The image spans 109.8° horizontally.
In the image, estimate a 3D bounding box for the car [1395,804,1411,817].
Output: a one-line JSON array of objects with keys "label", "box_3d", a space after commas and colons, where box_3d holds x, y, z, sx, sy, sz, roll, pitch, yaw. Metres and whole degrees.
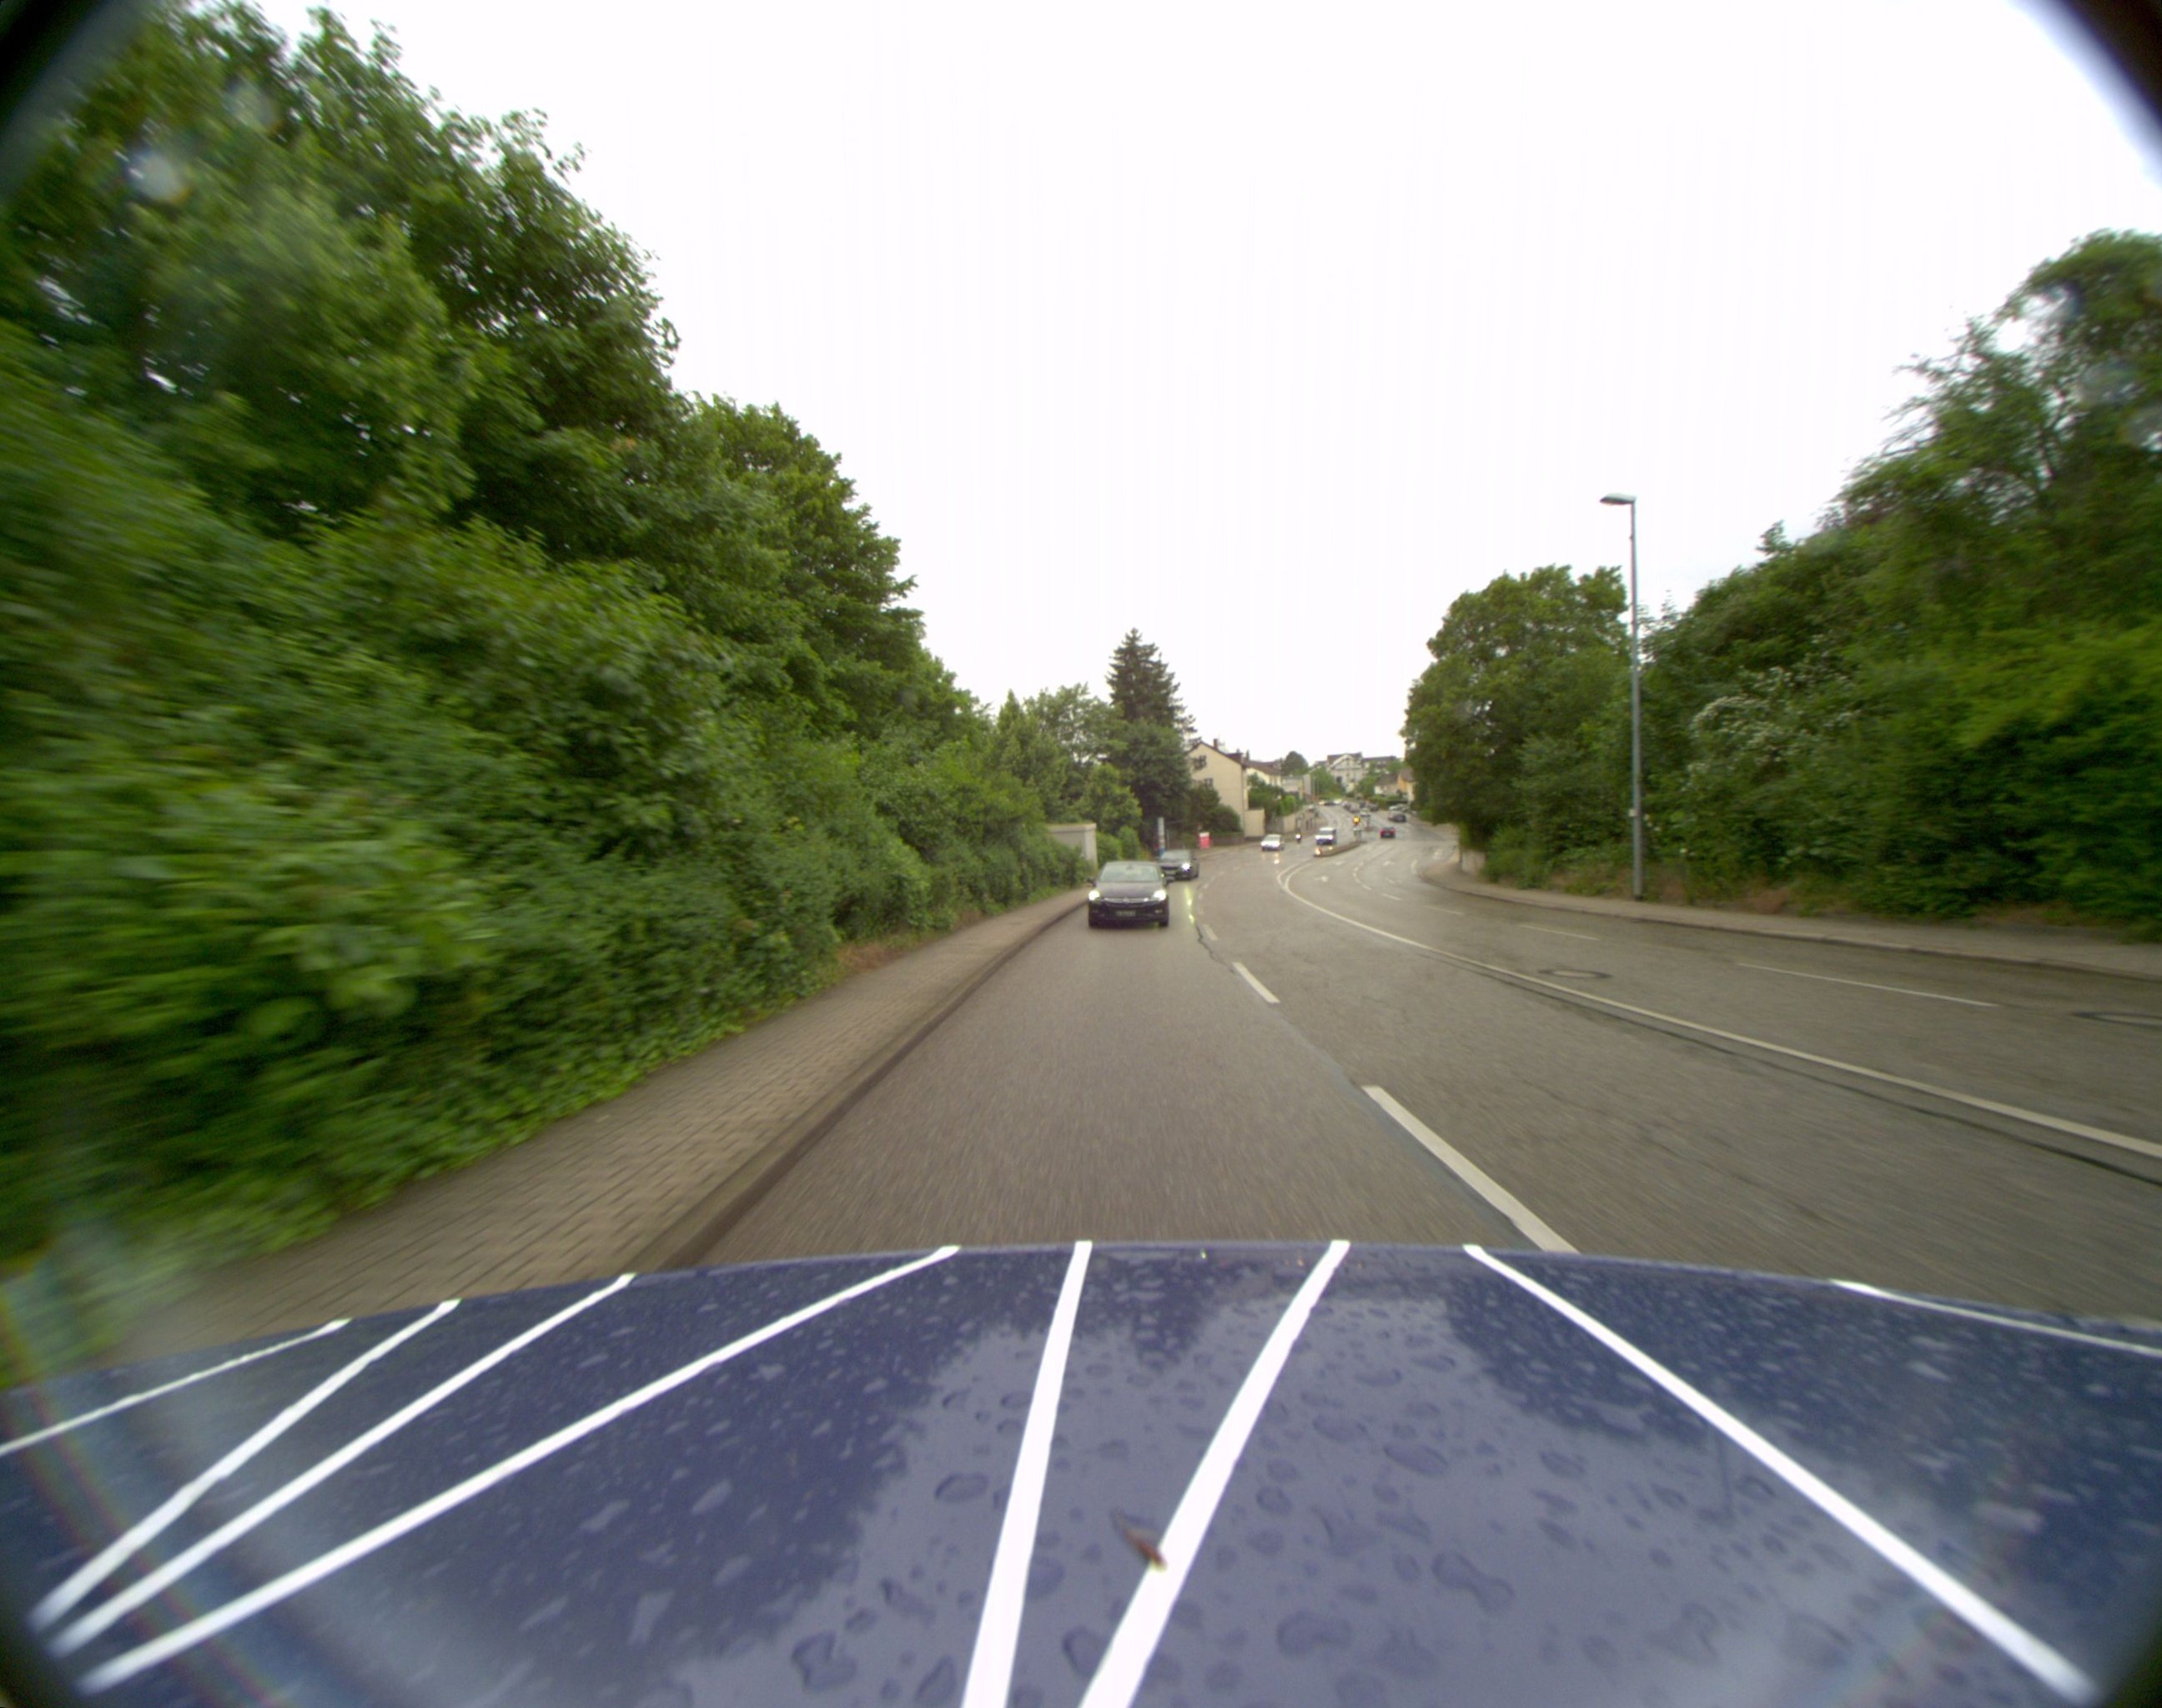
[{"label": "car", "box_3d": [55.891, -7.500, 132.031, 1.996, 2.002, 4.004, -2, 1, 15]}]

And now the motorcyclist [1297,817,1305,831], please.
[{"label": "motorcyclist", "box_3d": [26.568, -3.628, 91.619, 0.765, 1.633, 0.675, 0, 2, 27]}]

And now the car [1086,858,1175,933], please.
[{"label": "car", "box_3d": [1.220, 0.880, 17.848, 1.816, 1.434, 4.164, -2, 1, 5]}]

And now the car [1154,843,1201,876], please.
[{"label": "car", "box_3d": [4.983, 0.252, 38.822, 1.870, 1.497, 4.201, -2, 0, 13]}]

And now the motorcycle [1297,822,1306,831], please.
[{"label": "motorcycle", "box_3d": [26.595, -3.343, 91.657, 0.691, 1.047, 1.750, 0, 2, 27]}]

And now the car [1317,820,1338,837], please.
[{"label": "car", "box_3d": [27.846, -2.878, 85.733, 1.774, 1.765, 4.007, 0, 1, 26]}]

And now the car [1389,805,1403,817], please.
[{"label": "car", "box_3d": [57.551, -7.853, 138.719, 1.831, 2.002, 4.004, -2, 1, 15]}]

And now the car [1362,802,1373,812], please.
[{"label": "car", "box_3d": [58.792, -9.667, 155.937, 1.850, 1.774, 4.004, -2, 1, 17]}]

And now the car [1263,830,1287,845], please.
[{"label": "car", "box_3d": [19.381, -1.611, 75.898, 1.815, 1.430, 4.006, 0, 1, 22]}]
